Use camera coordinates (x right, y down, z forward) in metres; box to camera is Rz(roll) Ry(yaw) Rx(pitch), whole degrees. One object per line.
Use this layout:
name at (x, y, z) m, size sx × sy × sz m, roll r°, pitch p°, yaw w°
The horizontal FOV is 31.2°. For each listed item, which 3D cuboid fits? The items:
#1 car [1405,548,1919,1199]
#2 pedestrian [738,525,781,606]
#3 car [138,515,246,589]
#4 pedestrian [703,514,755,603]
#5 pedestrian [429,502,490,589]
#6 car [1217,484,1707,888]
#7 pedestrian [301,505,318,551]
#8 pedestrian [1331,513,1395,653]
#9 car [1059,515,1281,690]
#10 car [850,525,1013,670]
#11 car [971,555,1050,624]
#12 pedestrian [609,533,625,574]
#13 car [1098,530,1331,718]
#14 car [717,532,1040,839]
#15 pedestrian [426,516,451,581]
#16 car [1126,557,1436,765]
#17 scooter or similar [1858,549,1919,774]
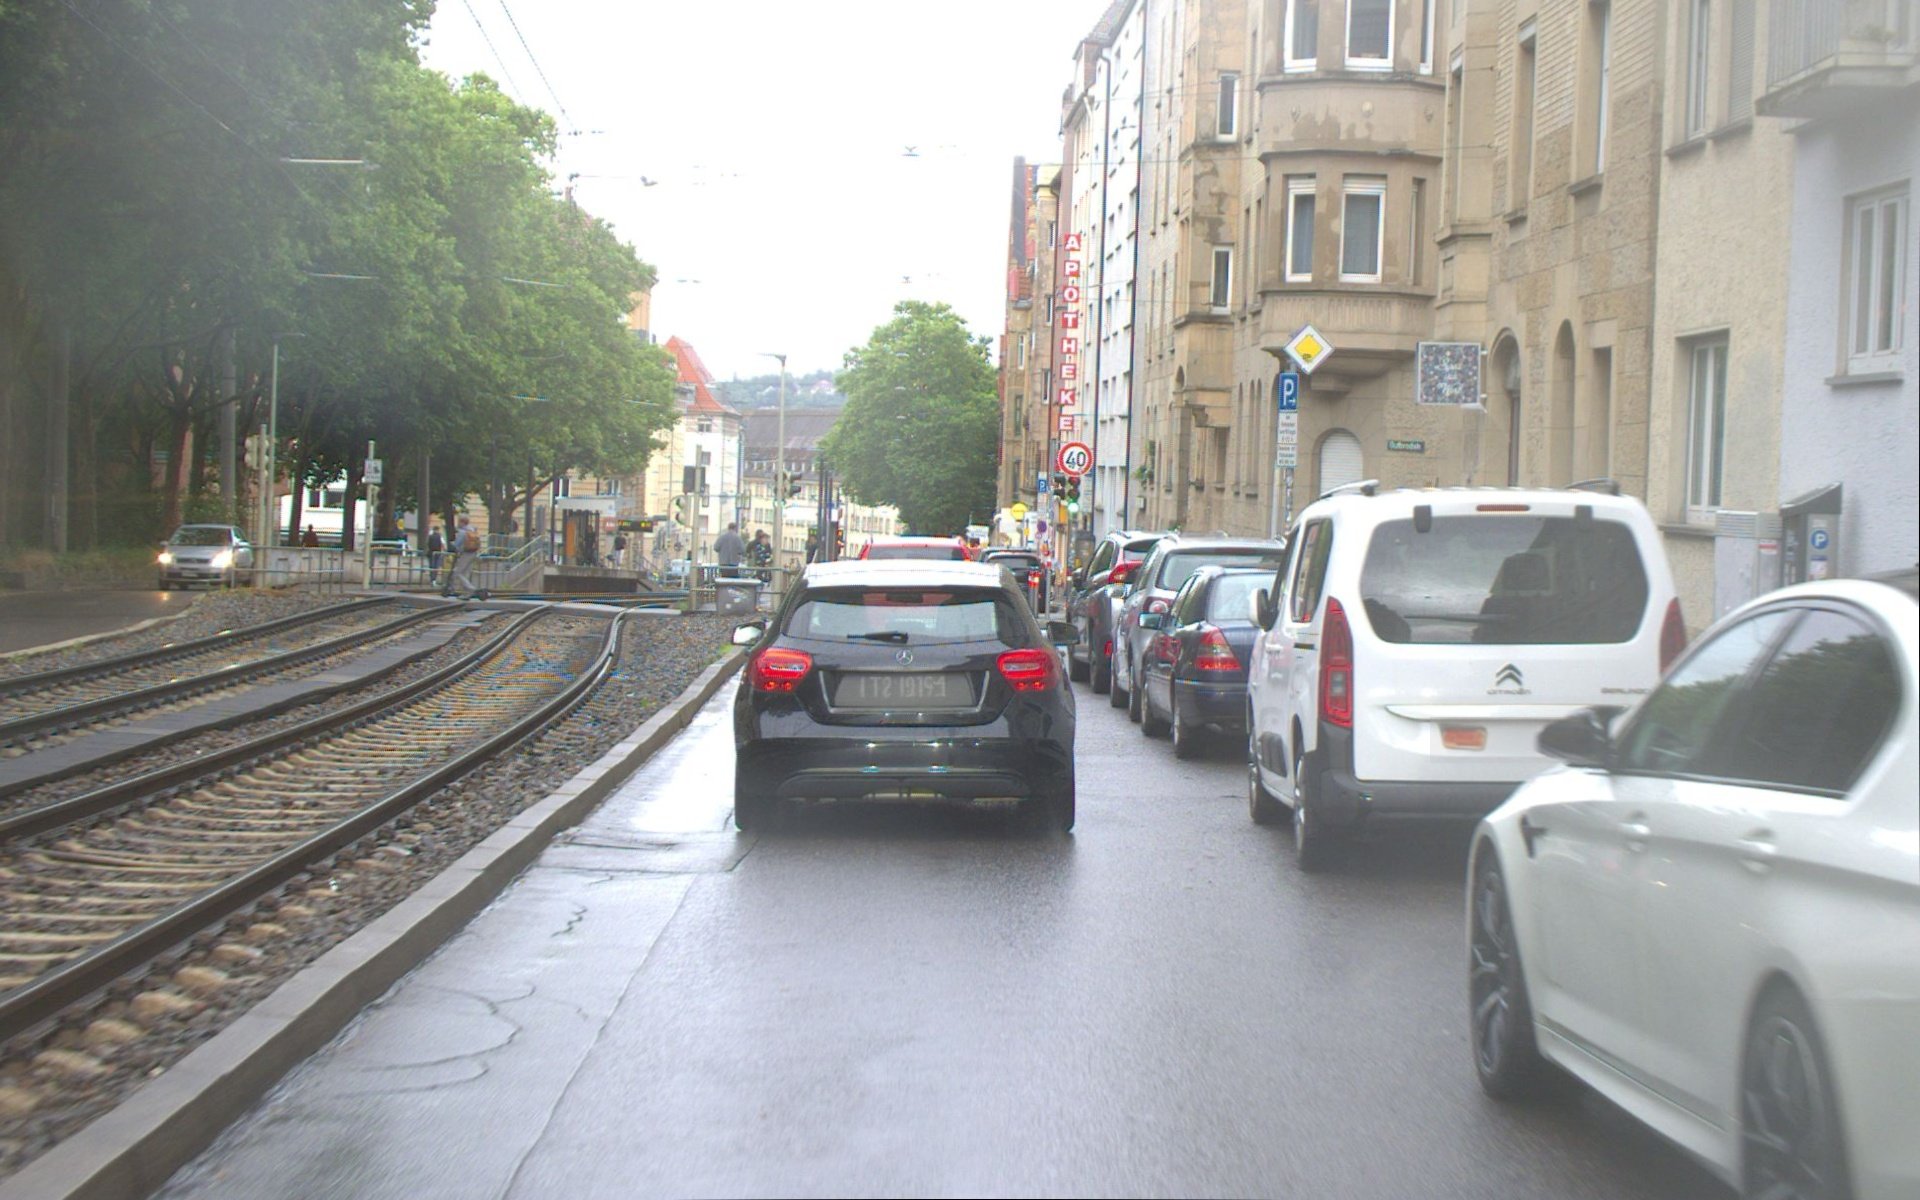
car at (2.358, 0.639, 7.765) m, size 1.871 × 1.450 × 4.903 m, roll 1°, pitch 1°, yaw -2°
pedestrian at (-4.055, -0.709, 69.495) m, size 0.806 × 1.628 × 0.892 m, roll 0°, pitch 1°, yaw 0°
car at (-16.734, -1.059, 75.081) m, size 1.817 × 1.499 × 4.635 m, roll 1°, pitch 1°, yaw -7°
pedestrian at (-5.221, -0.935, 77.708) m, size 1.137 × 1.991 × 1.173 m, roll 0°, pitch 1°, yaw -5°
pedestrian at (-10.183, -1.110, 69.923) m, size 1.054 × 1.713 × 0.904 m, roll 2°, pitch 1°, yaw 1°
car at (2.381, 0.341, 17.396) m, size 1.828 × 1.744 × 4.467 m, roll 1°, pitch 1°, yaw 1°
pedestrian at (-24.914, -2.753, 131.640) m, size 0.553 × 1.739 × 0.606 m, roll 0°, pitch 0°, yaw -1°
pedestrian at (5.172, -0.221, 44.153) m, size 0.694 × 1.781 × 0.758 m, roll -1°, pitch 1°, yaw -2°
car at (2.133, -0.007, 36.025) m, size 1.766 × 1.662 × 4.333 m, roll 2°, pitch 1°, yaw -3°
car at (-0.347, -0.056, 40.165) m, size 1.785 × 1.575 × 4.000 m, roll 1°, pitch 1°, yaw -1°
car at (1.218, -0.278, 84.788) m, size 1.827 × 1.612 × 3.864 m, roll 0°, pitch 1°, yaw -1°
pedestrian at (-14.547, -1.959, 145.813) m, size 0.518 × 1.711 × 0.551 m, roll 3°, pitch 1°, yaw -1°
car at (2.195, 0.170, 30.576) m, size 1.693 × 1.524 × 4.000 m, roll 1°, pitch 1°, yaw -1°
car at (-0.450, 0.397, 18.895) m, size 1.580 × 1.499 × 3.575 m, roll 1°, pitch 1°, yaw -1°
pedestrian at (-14.383, -1.424, 94.824) m, size 0.534 × 1.748 × 0.607 m, roll 3°, pitch 1°, yaw 0°
car at (2.277, 0.384, 25.485) m, size 1.717 × 1.342 × 4.462 m, roll 2°, pitch 1°, yaw -2°
scooter or similar at (5.687, 0.347, 20.386) m, size 0.387 × 1.293 × 1.171 m, roll 1°, pitch 1°, yaw 0°
